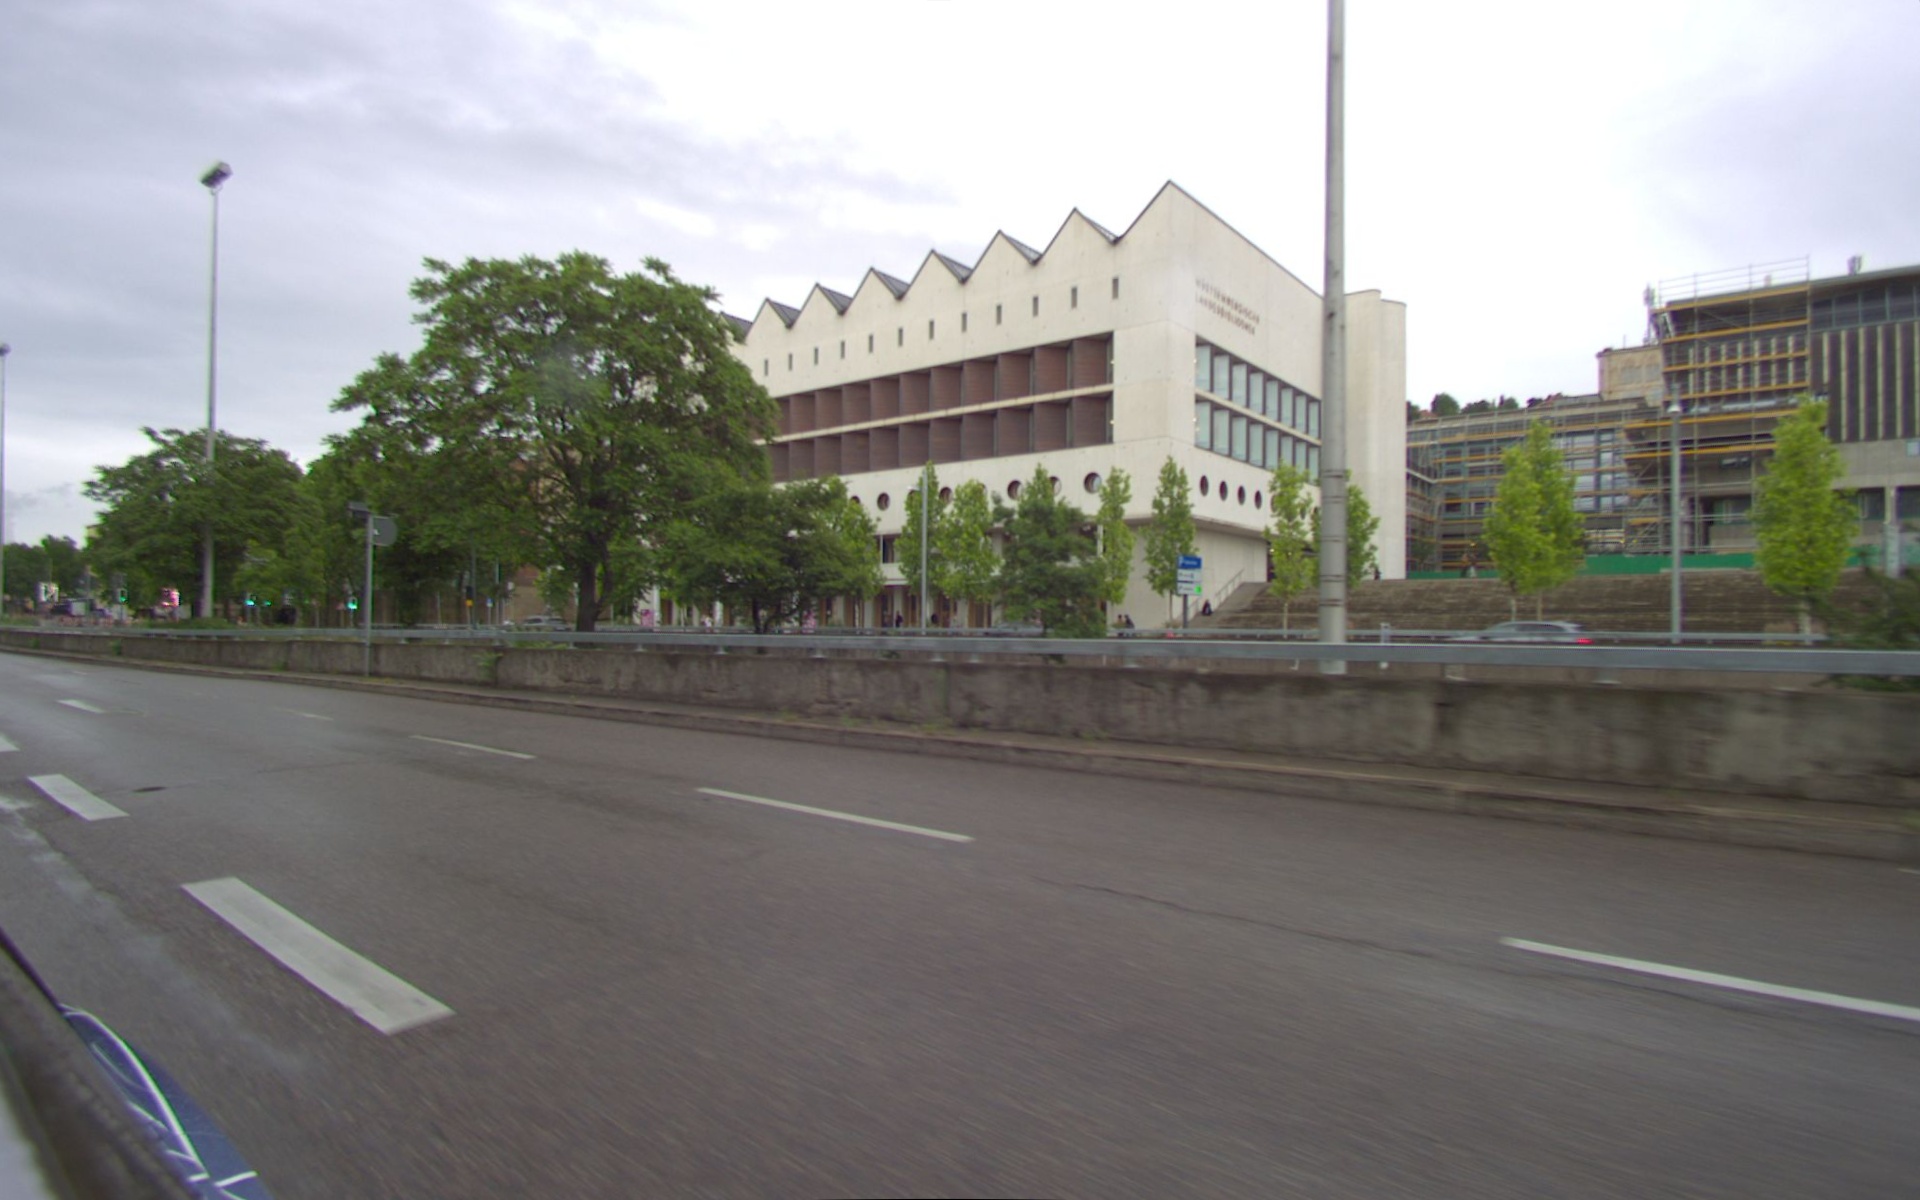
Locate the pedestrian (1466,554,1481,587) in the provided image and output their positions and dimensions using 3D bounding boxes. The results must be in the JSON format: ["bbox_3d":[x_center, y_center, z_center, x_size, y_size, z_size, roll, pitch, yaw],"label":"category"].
[{"bbox_3d":[31.666,-1.807,62.387,0.629,2.029,0.608,0,0,-34],"label":"pedestrian"}]

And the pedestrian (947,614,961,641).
[{"bbox_3d":[-0.369,1.698,62.121,0.689,1.639,0.743,0,0,-21],"label":"pedestrian"}]

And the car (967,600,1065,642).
[{"bbox_3d":[2.162,0.775,39.277,3.470,1.567,1.678,0,0,37],"label":"car"}]

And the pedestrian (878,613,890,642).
[{"bbox_3d":[-4.854,1.746,64.509,0.729,1.873,0.703,0,0,-8],"label":"pedestrian"}]

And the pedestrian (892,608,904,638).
[{"bbox_3d":[-3.952,1.458,64.676,0.729,1.873,0.703,0,0,-8],"label":"pedestrian"}]

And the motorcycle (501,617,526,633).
[{"bbox_3d":[-34.700,1.921,78.671,0.604,1.191,1.800,0,0,26],"label":"motorcycle"}]

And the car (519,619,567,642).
[{"bbox_3d":[-24.239,1.757,58.862,2.816,1.287,1.283,0,0,35],"label":"car"}]

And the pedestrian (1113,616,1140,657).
[{"bbox_3d":[7.939,1.711,48.178,0.829,1.880,1.074,0,0,43],"label":"pedestrian"}]

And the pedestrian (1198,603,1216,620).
[{"bbox_3d":[13.624,0.628,55.810,0.628,0.894,0.798,0,0,41],"label":"pedestrian"}]

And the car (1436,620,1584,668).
[{"bbox_3d":[15.845,1.226,29.232,3.540,1.236,1.549,0,0,41],"label":"car"}]

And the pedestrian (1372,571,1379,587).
[{"bbox_3d":[28.760,-1.460,70.062,0.308,1.120,0.419,0,0,7],"label":"pedestrian"}]

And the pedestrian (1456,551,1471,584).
[{"bbox_3d":[31.369,-1.998,63.064,0.629,2.029,0.608,0,0,-33],"label":"pedestrian"}]
